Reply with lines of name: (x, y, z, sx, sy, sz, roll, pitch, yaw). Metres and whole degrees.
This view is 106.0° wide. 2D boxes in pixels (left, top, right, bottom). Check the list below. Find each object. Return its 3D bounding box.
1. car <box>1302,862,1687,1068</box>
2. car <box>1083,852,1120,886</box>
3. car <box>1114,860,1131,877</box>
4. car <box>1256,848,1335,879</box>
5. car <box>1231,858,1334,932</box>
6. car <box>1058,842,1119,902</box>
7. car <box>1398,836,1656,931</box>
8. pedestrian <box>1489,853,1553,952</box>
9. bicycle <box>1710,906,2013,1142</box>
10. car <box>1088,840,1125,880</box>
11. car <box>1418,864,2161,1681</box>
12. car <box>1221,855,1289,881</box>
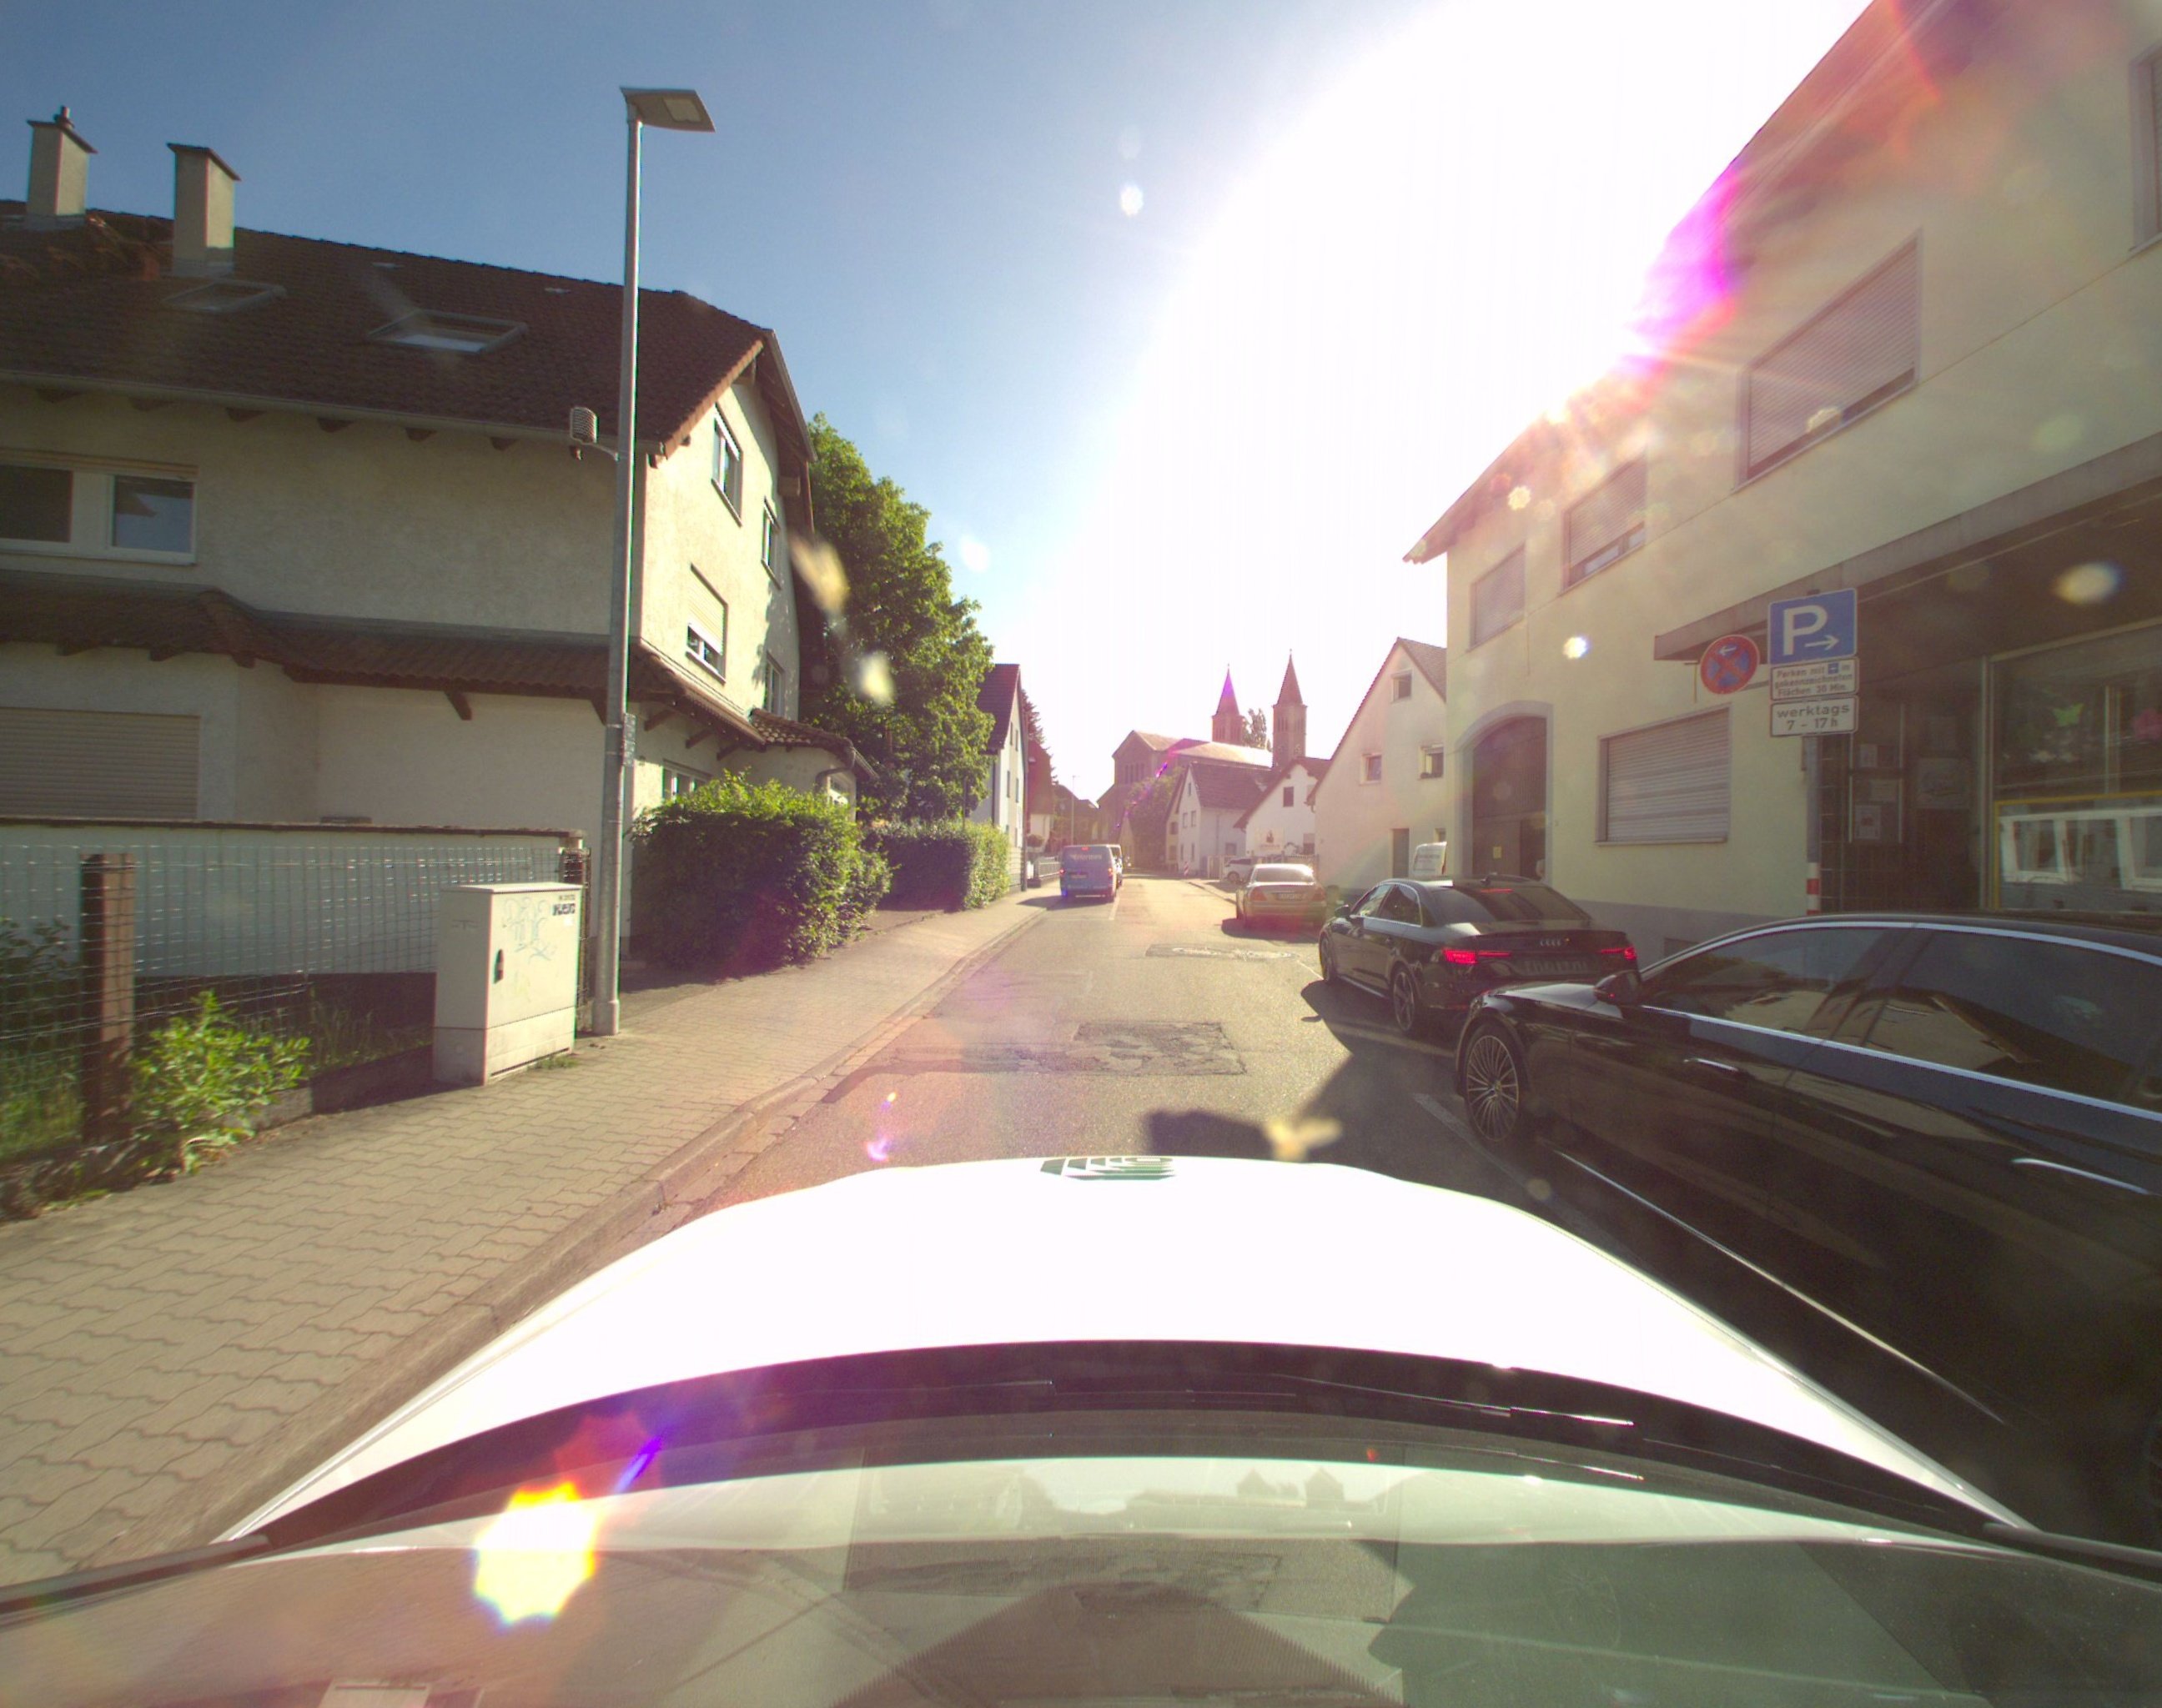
car: (3.848, 0.876, 8.719, 1.801, 1.475, 4.847, 3, 0, 2)
car: (1.061, 0.717, 40.036, 1.707, 1.598, 3.928, 0, 0, 3)
car: (3.945, 1.350, 77.578, 1.567, 1.546, 2.968, 1, 0, 3)
car: (12.081, 0.526, 45.795, 4.056, 1.688, 1.896, 0, 0, -25)
car: (4.666, 0.873, 19.462, 1.802, 1.475, 4.669, 2, 0, 7)
car: (0.366, 0.586, 28.808, 1.894, 1.917, 5.074, 0, 0, 3)
car: (9.803, 0.614, 18.117, 4.753, 1.886, 1.906, -1, 0, -5)
pedestrian: (7.107, 0.763, 13.177, 0.562, 1.552, 0.770, 2, 0, -1)
bicycle: (4.729, 0.952, 5.083, 0.505, 1.157, 1.509, 0, 0, 4)
car: (1.678, 0.358, 51.621, 2.188, 2.390, 6.069, -1, 0, 3)
car: (2.988, 0.837, 2.786, 1.801, 1.475, 4.847, 3, 0, 2)
car: (10.414, 0.831, 48.731, 3.887, 1.492, 1.853, 0, -1, 11)
